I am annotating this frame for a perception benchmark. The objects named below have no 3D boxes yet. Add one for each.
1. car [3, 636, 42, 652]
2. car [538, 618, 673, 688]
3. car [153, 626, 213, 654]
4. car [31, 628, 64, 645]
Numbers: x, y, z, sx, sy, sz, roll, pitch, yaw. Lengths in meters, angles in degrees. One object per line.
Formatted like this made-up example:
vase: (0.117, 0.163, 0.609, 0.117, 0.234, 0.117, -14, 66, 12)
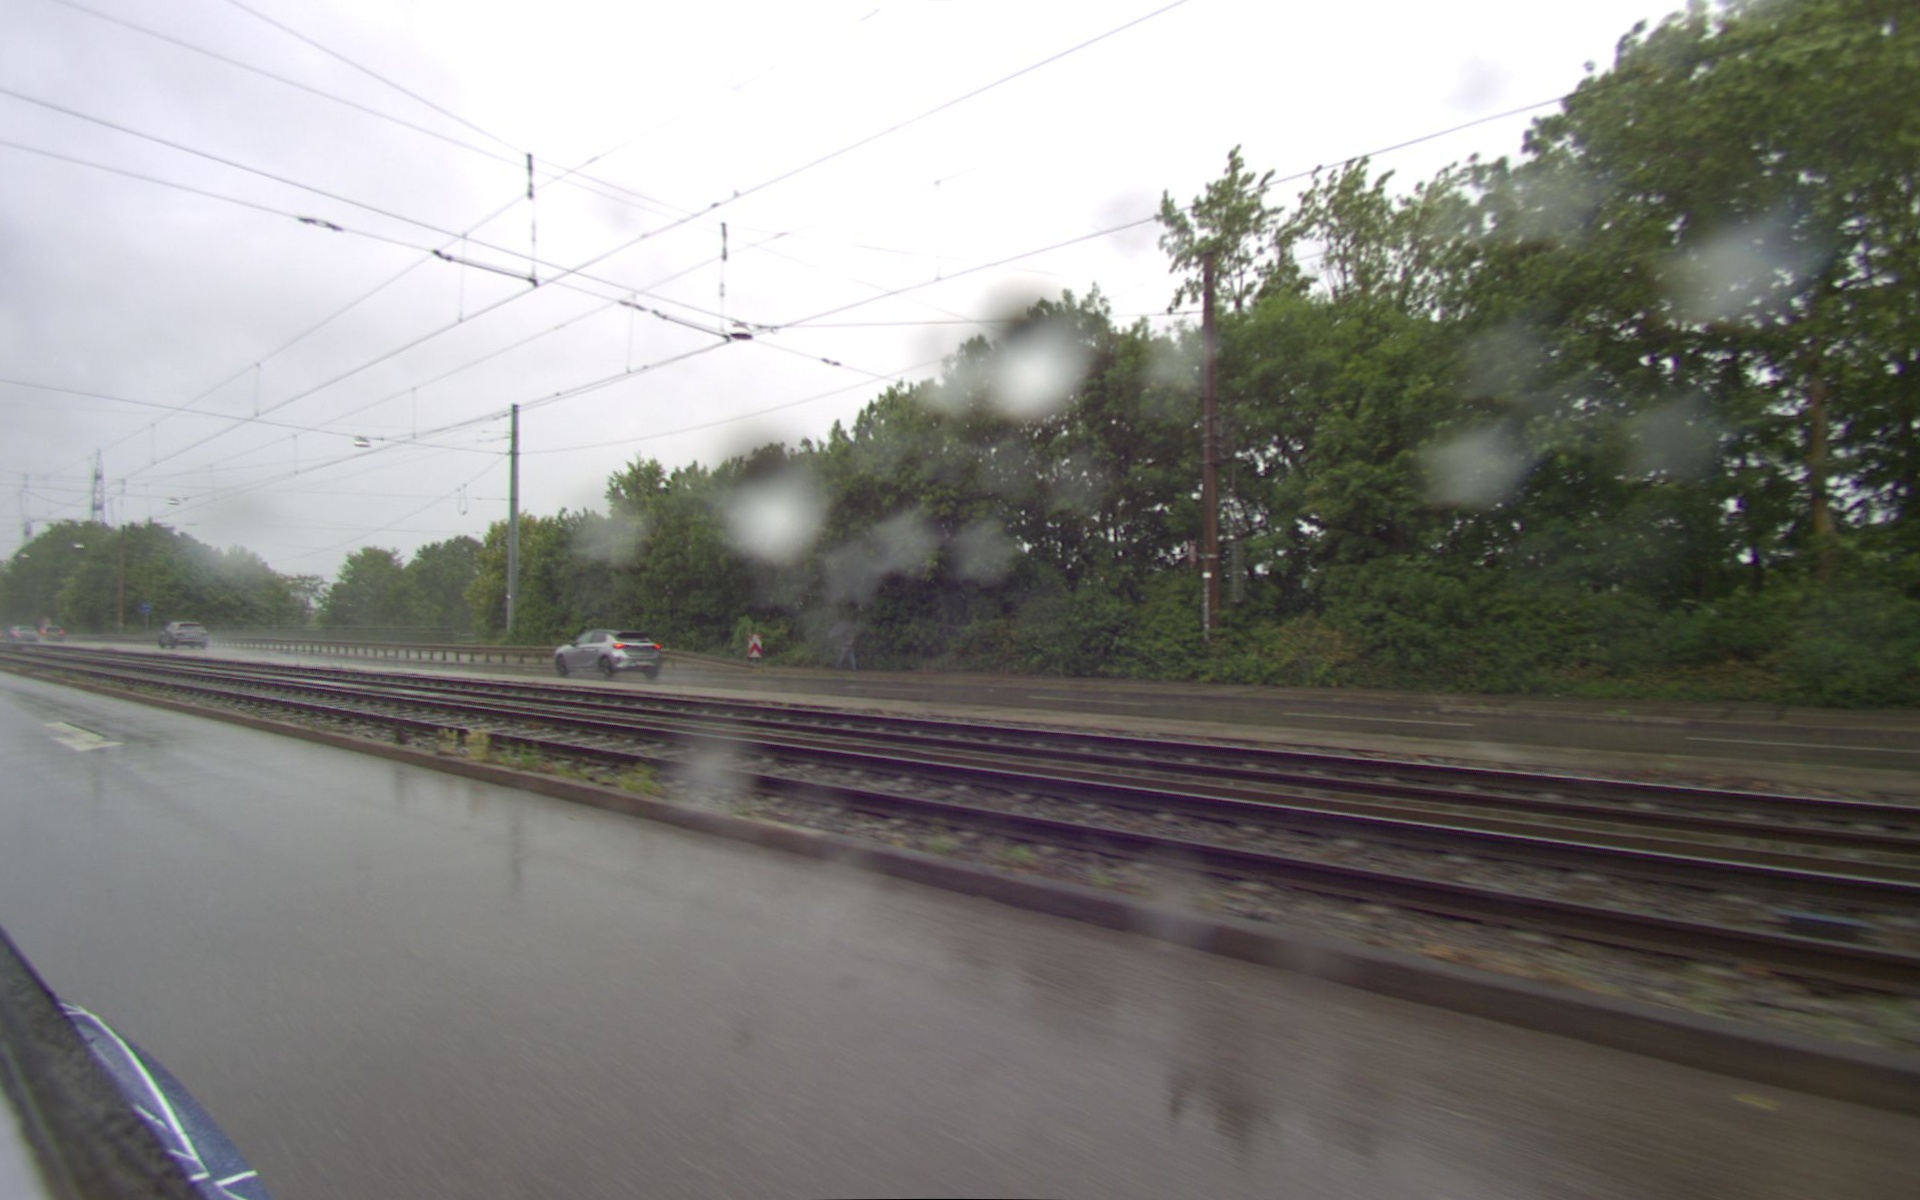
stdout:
car: (-83.813, 3.931, 90.426, 4.849, 1.399, 1.973, -2, -2, 40)
car: (-10.631, 1.554, 30.244, 3.997, 1.796, 1.974, -2, 2, 40)
car: (-48.785, 2.517, 63.481, 4.868, 1.685, 1.973, -2, -2, 40)
car: (-87.627, 3.464, 97.151, 4.383, 1.586, 1.822, -1, -1, 41)
